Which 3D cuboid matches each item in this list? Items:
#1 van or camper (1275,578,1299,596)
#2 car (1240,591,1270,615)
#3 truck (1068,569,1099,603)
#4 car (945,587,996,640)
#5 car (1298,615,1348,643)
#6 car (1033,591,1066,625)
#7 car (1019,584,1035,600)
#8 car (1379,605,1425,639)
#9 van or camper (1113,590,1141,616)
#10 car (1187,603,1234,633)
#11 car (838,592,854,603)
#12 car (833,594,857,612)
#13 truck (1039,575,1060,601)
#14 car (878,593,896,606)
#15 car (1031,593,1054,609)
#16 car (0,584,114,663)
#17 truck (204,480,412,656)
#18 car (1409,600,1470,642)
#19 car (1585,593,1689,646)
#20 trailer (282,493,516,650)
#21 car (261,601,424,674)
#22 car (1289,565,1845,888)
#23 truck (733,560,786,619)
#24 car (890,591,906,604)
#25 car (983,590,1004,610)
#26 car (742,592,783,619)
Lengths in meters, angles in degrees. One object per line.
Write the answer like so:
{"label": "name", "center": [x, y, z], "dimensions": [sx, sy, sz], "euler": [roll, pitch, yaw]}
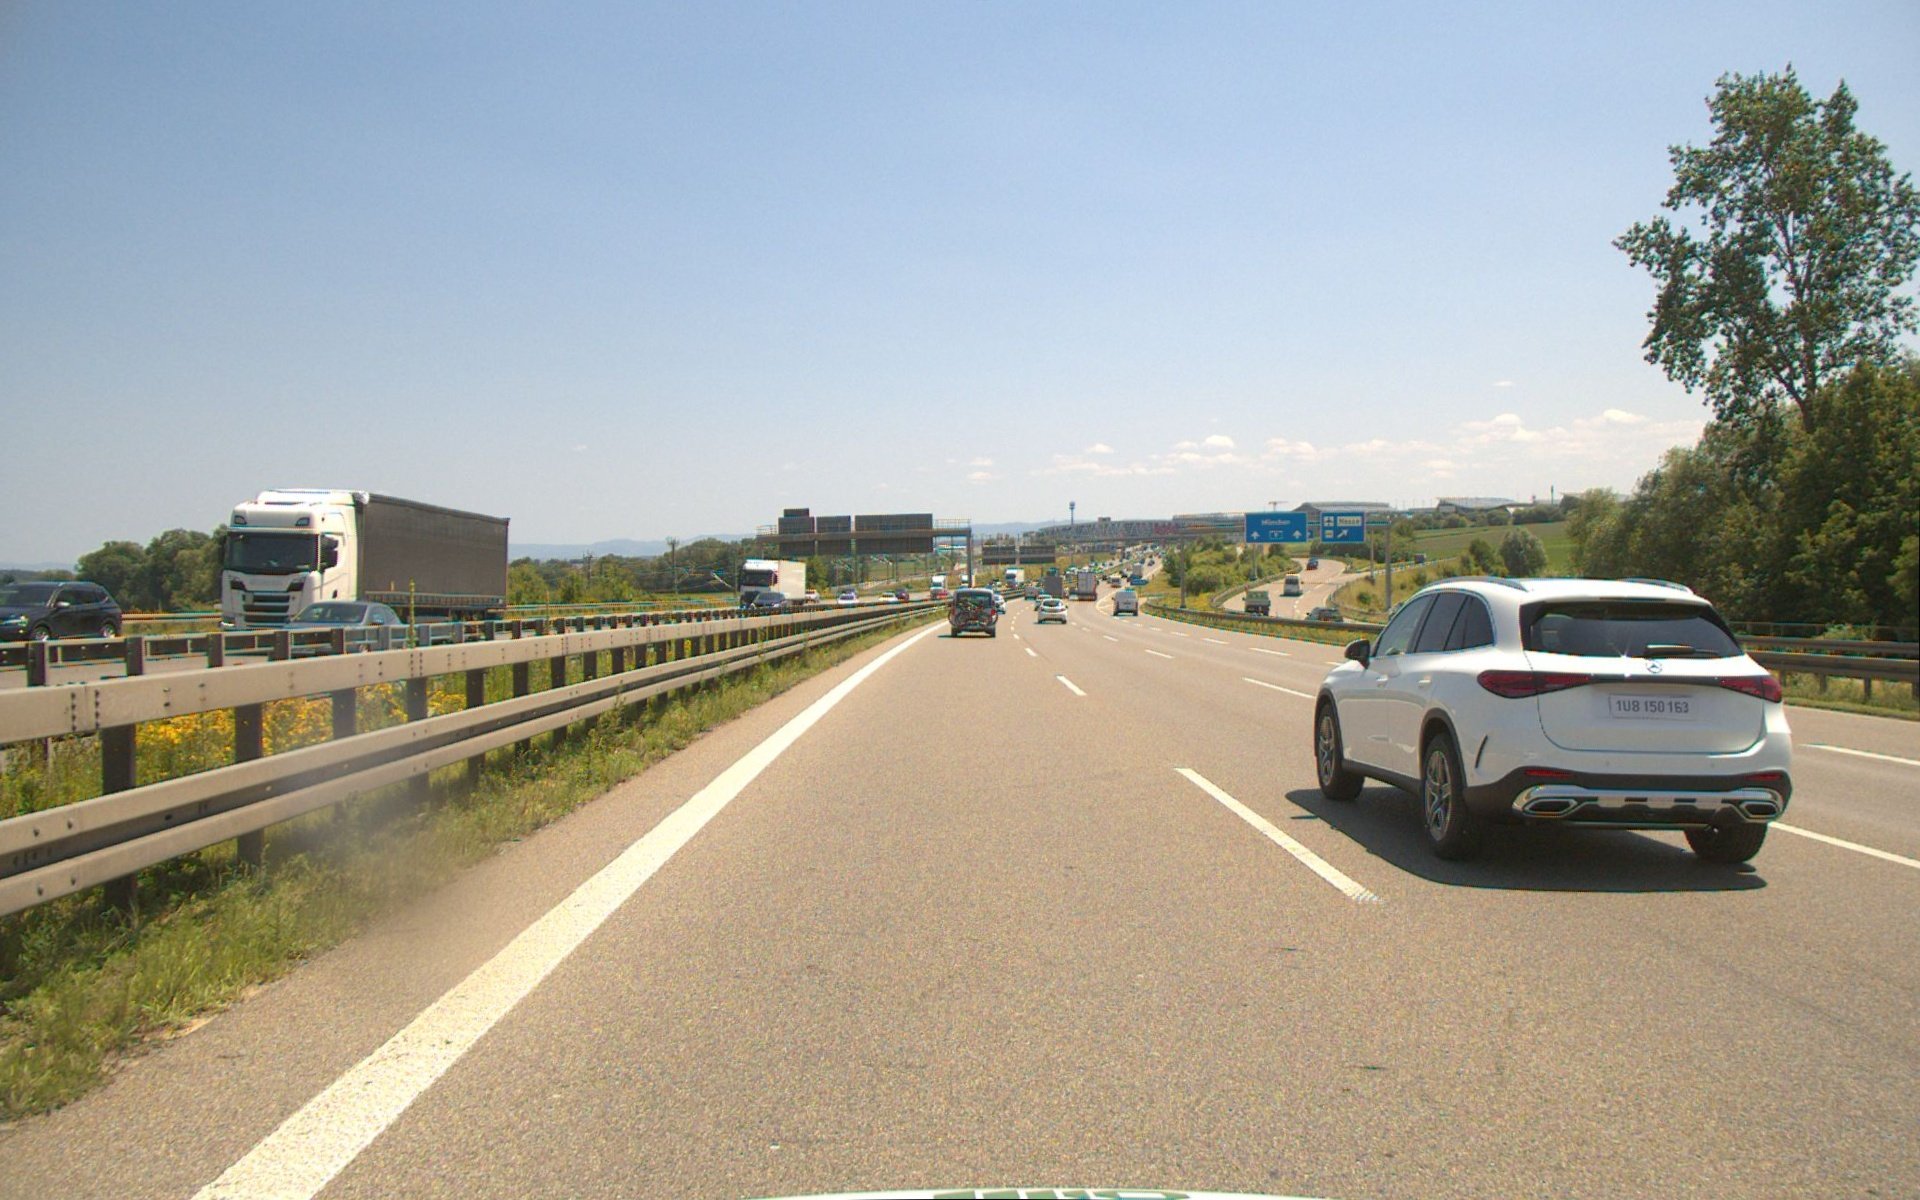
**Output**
{"label": "van or camper", "center": [40.017, -1.559, 202.297], "dimensions": [2.475, 2.049, 4.464], "euler": [0, 0, 6]}
{"label": "car", "center": [25.513, 0.257, 143.214], "dimensions": [1.952, 2.049, 4.000], "euler": [1, 0, 0]}
{"label": "truck", "center": [17.529, -2.049, 233.418], "dimensions": [3.953, 4.336, 11.768], "euler": [0, 2, 6]}
{"label": "car", "center": [0.423, 0.507, 64.247], "dimensions": [1.887, 1.952, 4.948], "euler": [1, 0, 1]}
{"label": "car", "center": [22.125, 1.733, 100.839], "dimensions": [1.954, 1.624, 3.997], "euler": [1, 0, -3]}
{"label": "car", "center": [5.332, 0.480, 99.292], "dimensions": [1.886, 1.952, 4.519], "euler": [1, 0, 2]}
{"label": "car", "center": [9.509, -1.165, 233.070], "dimensions": [2.140, 2.037, 4.003], "euler": [1, 2, 4]}
{"label": "car", "center": [26.329, 1.299, 98.615], "dimensions": [1.898, 1.957, 4.181], "euler": [0, 0, 5]}
{"label": "van or camper", "center": [13.557, 0.250, 134.614], "dimensions": [2.110, 2.049, 4.306], "euler": [0, 0, 4]}
{"label": "car", "center": [15.003, 1.052, 99.203], "dimensions": [1.954, 1.720, 3.997], "euler": [1, 0, -3]}
{"label": "car", "center": [-15.483, -0.349, 225.100], "dimensions": [1.809, 1.558, 4.224], "euler": [1, 0, 2]}
{"label": "car", "center": [-9.987, 0.249, 143.786], "dimensions": [1.705, 1.515, 4.008], "euler": [1, 0, 1]}
{"label": "truck", "center": [11.504, -1.510, 212.819], "dimensions": [2.646, 3.163, 10.663], "euler": [0, 0, 3]}
{"label": "car", "center": [-7.823, -0.052, 177.431], "dimensions": [1.623, 1.428, 4.760], "euler": [1, 0, 2]}
{"label": "car", "center": [7.779, 0.130, 155.952], "dimensions": [1.940, 1.499, 4.003], "euler": [0, 0, 6]}
{"label": "car", "center": [-20.560, 0.481, 36.398], "dimensions": [1.840, 1.642, 4.000], "euler": [1, 0, -1]}
{"label": "truck", "center": [-16.746, -0.766, 43.001], "dimensions": [2.822, 4.189, 6.384], "euler": [1, 0, 0]}
{"label": "car", "center": [23.483, 1.017, 81.163], "dimensions": [1.899, 1.957, 4.180], "euler": [1, 0, 1]}
{"label": "car", "center": [21.348, 0.609, 52.303], "dimensions": [1.664, 1.602, 4.129], "euler": [1, 0, 1]}
{"label": "trailer", "center": [-16.719, -0.776, 50.618], "dimensions": [2.831, 4.185, 12.585], "euler": [1, 0, 0]}
{"label": "car", "center": [-12.664, 0.726, 34.227], "dimensions": [1.671, 1.384, 4.497], "euler": [1, 0, 0]}
{"label": "car", "center": [3.681, 0.672, 11.160], "dimensions": [1.859, 1.676, 4.997], "euler": [1, 0, -1]}
{"label": "truck", "center": [-15.015, -0.776, 124.394], "dimensions": [2.972, 4.314, 6.686], "euler": [1, 0, 2]}
{"label": "car", "center": [-8.191, -0.326, 219.428], "dimensions": [1.809, 1.684, 4.911], "euler": [1, 0, 2]}
{"label": "car", "center": [2.715, -0.017, 134.942], "dimensions": [1.543, 1.579, 3.965], "euler": [1, 0, 3]}
{"label": "car", "center": [-12.263, 0.328, 102.810], "dimensions": [1.952, 1.673, 4.664], "euler": [0, 0, 1]}
